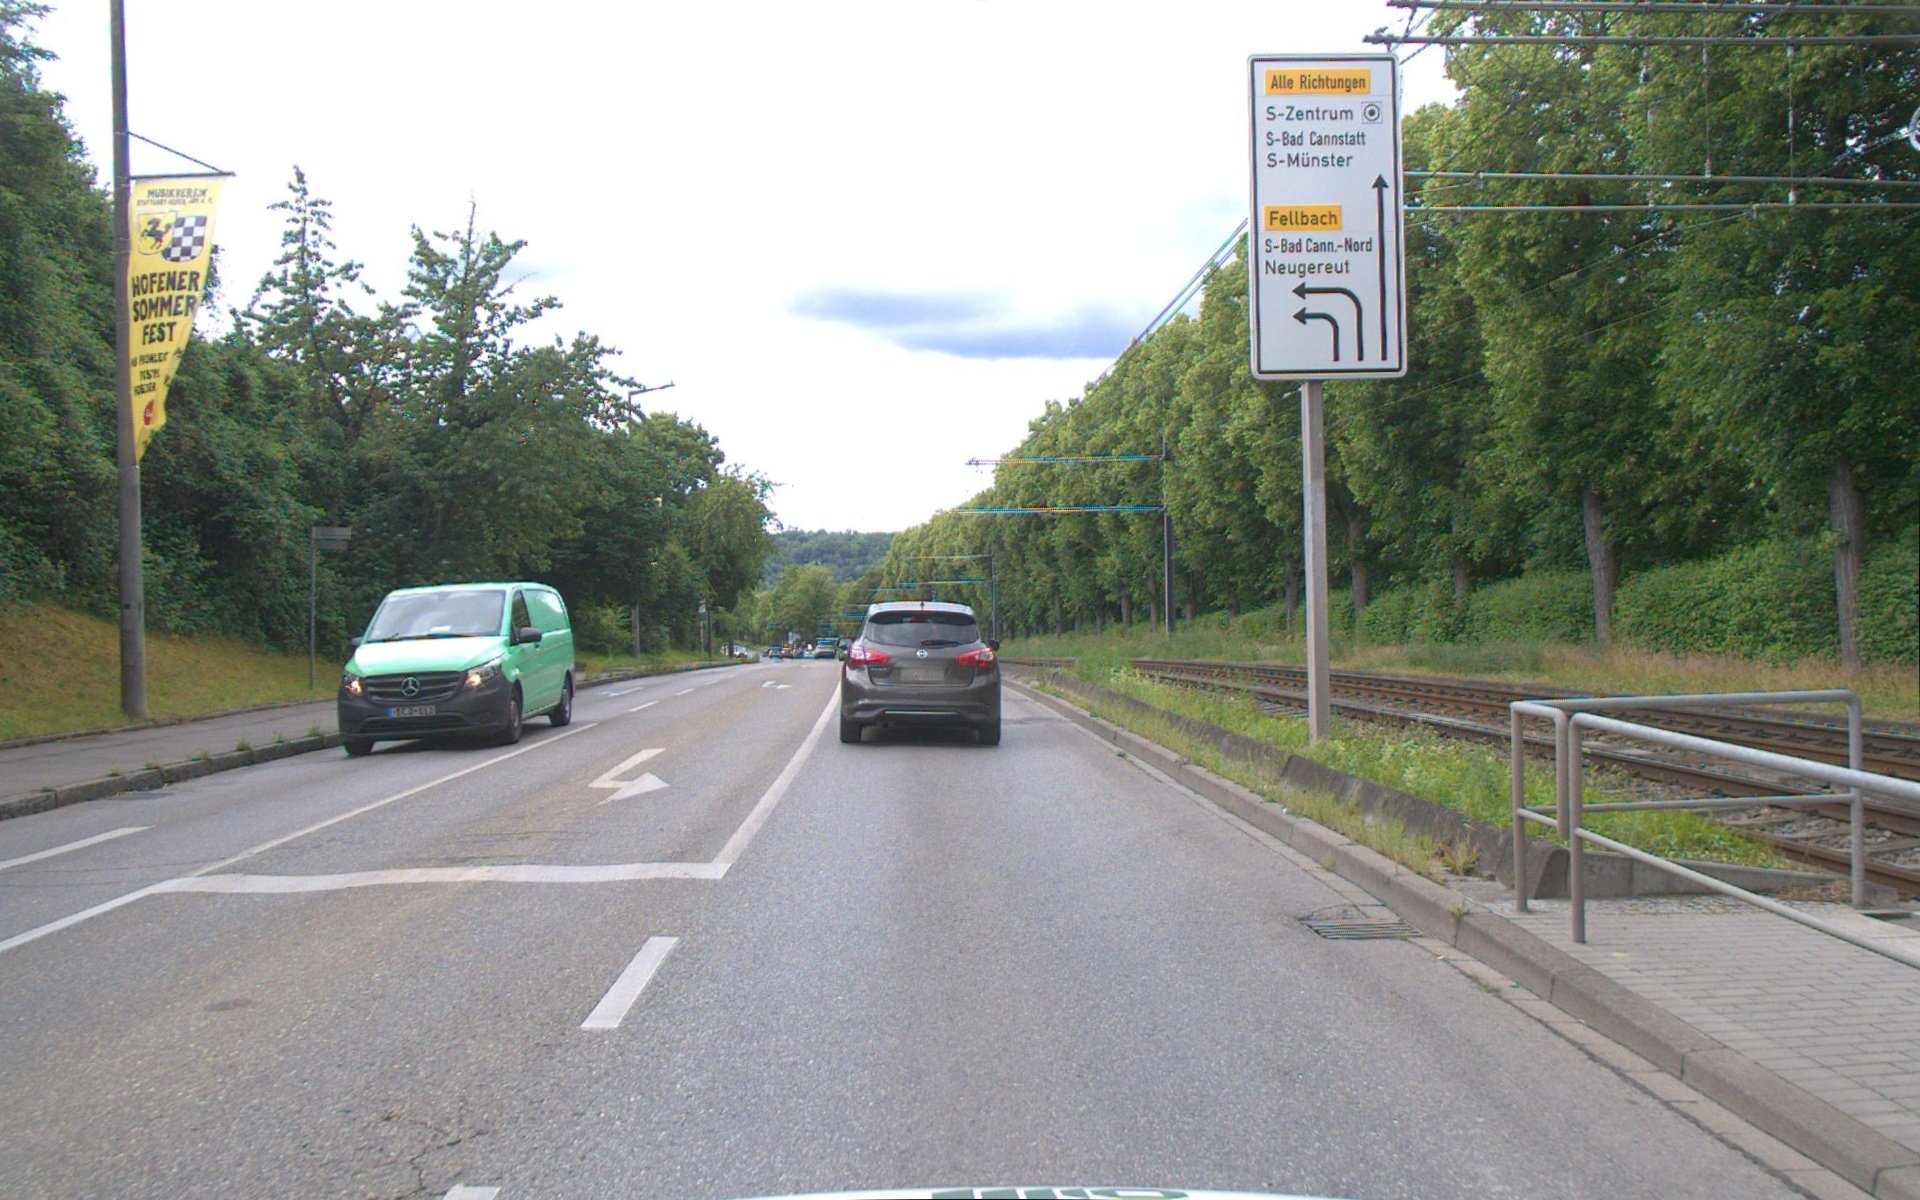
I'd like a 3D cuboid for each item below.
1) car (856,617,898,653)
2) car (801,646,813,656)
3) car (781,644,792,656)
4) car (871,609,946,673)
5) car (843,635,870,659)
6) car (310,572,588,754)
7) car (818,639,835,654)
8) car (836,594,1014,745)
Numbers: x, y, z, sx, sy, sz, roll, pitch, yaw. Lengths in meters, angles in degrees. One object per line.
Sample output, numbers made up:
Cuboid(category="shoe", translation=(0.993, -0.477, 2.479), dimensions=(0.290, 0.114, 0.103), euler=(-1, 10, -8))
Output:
Cuboid(category="car", translation=(-3.556, 1.510, 70.288), dimensions=(1.666, 1.469, 3.995), euler=(0, -2, -5))
Cuboid(category="car", translation=(-23.324, 7.718, 252.248), dimensions=(1.666, 1.502, 3.701), euler=(0, -2, -5))
Cuboid(category="car", translation=(-26.879, 7.741, 256.042), dimensions=(1.666, 1.744, 3.995), euler=(0, -2, -5))
Cuboid(category="car", translation=(-1.283, 1.027, 39.916), dimensions=(1.666, 1.469, 3.996), euler=(0, -2, -4))
Cuboid(category="car", translation=(-6.641, 3.028, 106.050), dimensions=(1.666, 1.469, 3.995), euler=(0, -2, -5))
Cuboid(category="car", translation=(-5.968, 0.689, 19.965), dimensions=(2.017, 1.842, 4.726), euler=(-3, 0, -3))
Cuboid(category="car", translation=(-14.098, 4.920, 174.631), dimensions=(1.759, 1.537, 3.995), euler=(0, -2, -5))
Cuboid(category="car", translation=(-0.403, 0.720, 19.065), dimensions=(1.813, 1.519, 3.999), euler=(1, 0, -1))
